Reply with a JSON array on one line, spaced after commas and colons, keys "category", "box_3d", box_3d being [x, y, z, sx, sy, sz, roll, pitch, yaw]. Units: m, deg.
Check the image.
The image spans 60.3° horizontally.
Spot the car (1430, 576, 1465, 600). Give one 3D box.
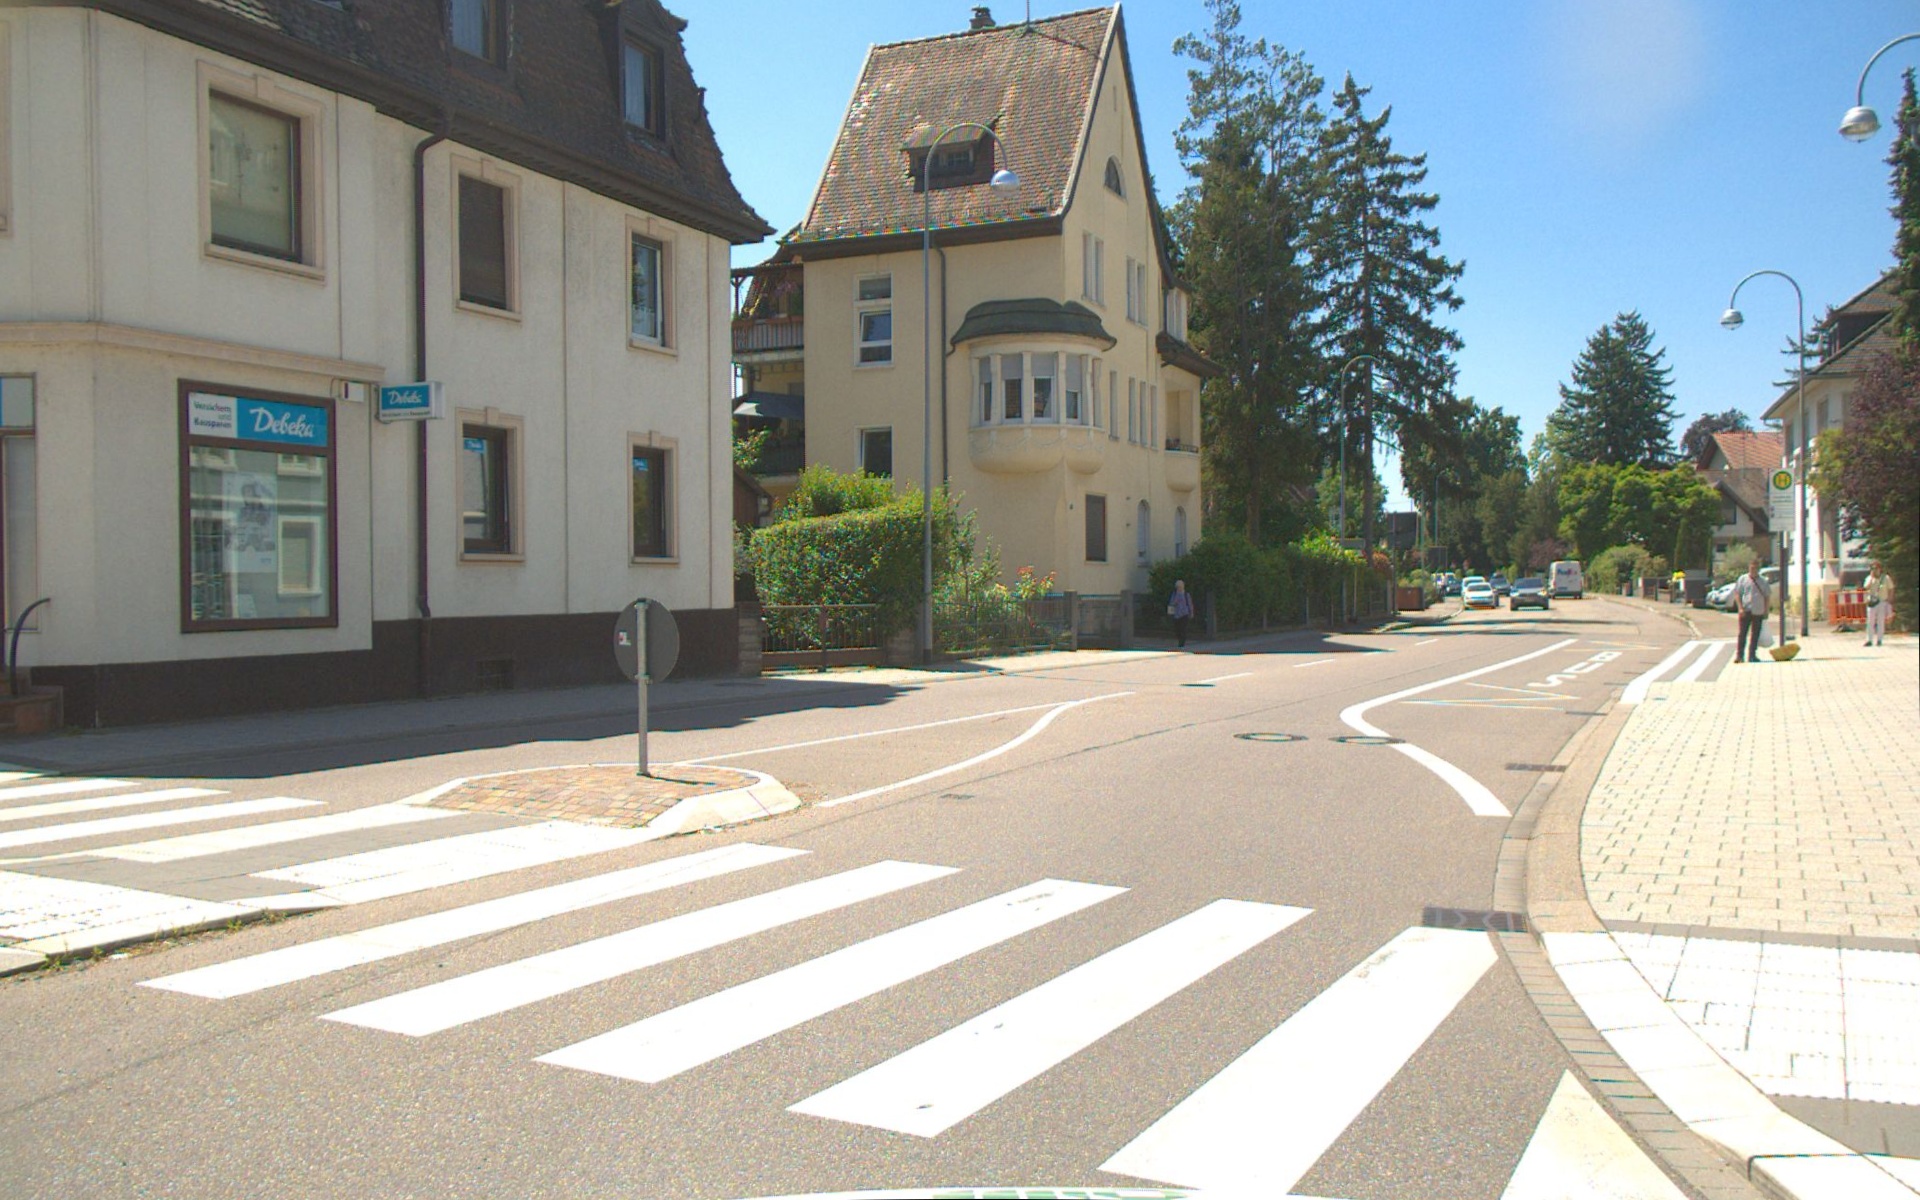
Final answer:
[{"category": "car", "box_3d": [41.508, -1.005, 140.810, 1.952, 2.049, 4.001, 0, 0, 2]}]

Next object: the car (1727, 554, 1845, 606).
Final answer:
[{"category": "car", "box_3d": [33.201, -0.808, 66.577, 3.902, 2.049, 2.002, 0, 1, 14]}]

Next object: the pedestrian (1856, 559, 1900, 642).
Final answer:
[{"category": "pedestrian", "box_3d": [18.570, 0.004, 33.463, 0.653, 1.621, 0.586, -4, -1, 27]}]

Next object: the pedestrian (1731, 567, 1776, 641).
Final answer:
[{"category": "pedestrian", "box_3d": [14.634, 0.063, 30.489, 0.653, 1.308, 0.586, -4, -1, 27]}]

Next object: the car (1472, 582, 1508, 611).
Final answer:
[{"category": "car", "box_3d": [31.436, -0.247, 98.063, 1.952, 1.680, 4.002, 0, 0, 18]}]

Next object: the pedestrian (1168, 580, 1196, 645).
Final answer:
[{"category": "pedestrian", "box_3d": [5.272, 0.287, 39.269, 0.512, 1.535, 0.473, 0, 0, 26]}]

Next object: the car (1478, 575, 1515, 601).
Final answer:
[{"category": "car", "box_3d": [42.439, -0.959, 130.803, 1.951, 2.049, 4.003, 0, 0, 5]}]

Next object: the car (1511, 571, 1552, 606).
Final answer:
[{"category": "car", "box_3d": [29.117, -0.605, 84.274, 1.952, 1.747, 4.001, 0, 0, 19]}]

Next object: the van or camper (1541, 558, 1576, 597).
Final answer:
[{"category": "van or camper", "box_3d": [41.619, -1.576, 115.035, 2.159, 2.656, 4.002, 0, 0, 18]}]

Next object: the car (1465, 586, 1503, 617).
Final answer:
[{"category": "car", "box_3d": [29.268, 0.057, 92.314, 1.952, 1.680, 4.002, 0, 0, 18]}]
